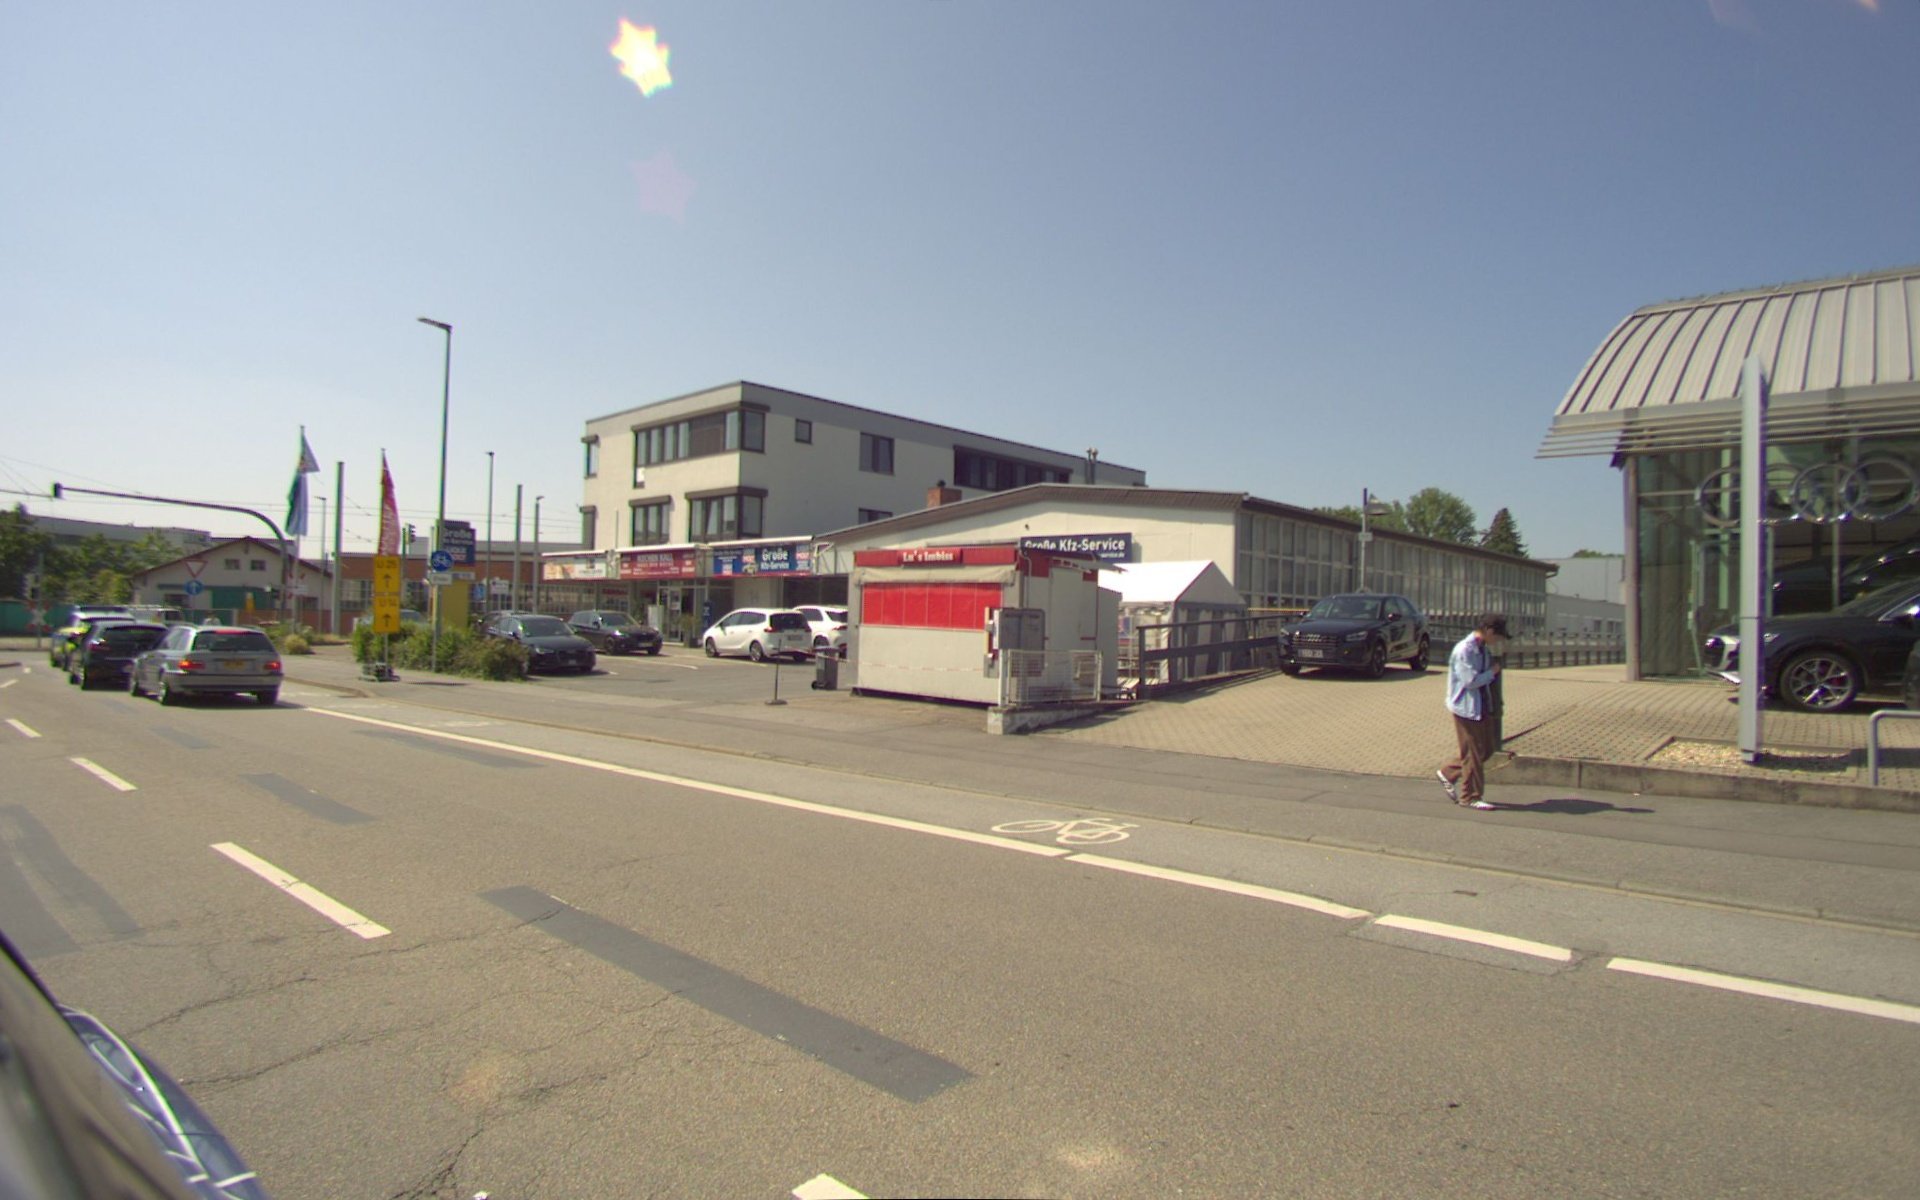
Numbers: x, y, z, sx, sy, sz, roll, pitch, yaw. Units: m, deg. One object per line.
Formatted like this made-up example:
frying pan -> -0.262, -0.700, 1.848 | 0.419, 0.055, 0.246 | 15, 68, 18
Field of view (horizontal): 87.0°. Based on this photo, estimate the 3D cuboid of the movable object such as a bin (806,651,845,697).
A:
movable object such as a bin -> -2.873, 1.569, 21.642 | 0.564, 0.930, 0.691 | -1, -1, -35

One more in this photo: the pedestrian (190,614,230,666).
pedestrian -> -24.709, 1.316, 33.336 | 0.981, 1.698, 0.801 | 2, -3, -37

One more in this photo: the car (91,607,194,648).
car -> -48.395, 1.606, 59.972 | 4.378, 1.961, 1.996 | 6, -1, 2

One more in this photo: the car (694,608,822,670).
car -> -6.567, 1.214, 32.575 | 1.885, 1.721, 4.482 | 3, -1, -44

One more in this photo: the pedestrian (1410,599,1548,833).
pedestrian -> 4.449, 0.945, 8.682 | 0.911, 1.862, 0.715 | -1, -3, 41

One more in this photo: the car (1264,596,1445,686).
car -> 7.589, 0.751, 19.306 | 1.898, 1.536, 3.943 | -1, -2, 43

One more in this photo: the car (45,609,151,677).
car -> -24.460, 1.187, 28.669 | 4.355, 1.772, 1.871 | -1, -3, 45

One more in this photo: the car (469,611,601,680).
car -> -11.681, 1.214, 27.725 | 4.001, 1.728, 1.884 | -1, -3, 44

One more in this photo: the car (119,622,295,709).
car -> -14.026, 1.164, 18.763 | 4.323, 1.415, 1.723 | -1, -4, 42

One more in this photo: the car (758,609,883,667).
car -> -4.784, 1.269, 34.338 | 4.420, 1.830, 1.885 | -1, -3, 45

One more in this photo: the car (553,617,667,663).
car -> -11.836, 1.321, 34.092 | 4.420, 1.432, 1.885 | -1, -3, 45

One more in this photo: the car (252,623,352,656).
car -> -34.123, 2.011, 52.613 | 1.755, 1.465, 4.081 | -4, -1, 20

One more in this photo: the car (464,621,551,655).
car -> -19.546, 1.621, 43.628 | 4.487, 1.399, 1.885 | -1, -3, 45

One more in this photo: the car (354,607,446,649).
car -> -22.174, 1.112, 40.001 | 4.820, 1.585, 1.885 | -1, -3, 45

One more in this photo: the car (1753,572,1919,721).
car -> 12.771, 0.518, 12.204 | 4.708, 1.732, 1.982 | 0, 1, 27

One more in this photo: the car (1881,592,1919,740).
car -> 10.416, 0.729, 8.463 | 1.884, 1.470, 4.154 | -1, 2, 6

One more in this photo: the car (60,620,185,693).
car -> -18.448, 1.207, 22.224 | 4.243, 1.465, 1.641 | -1, -4, 45
